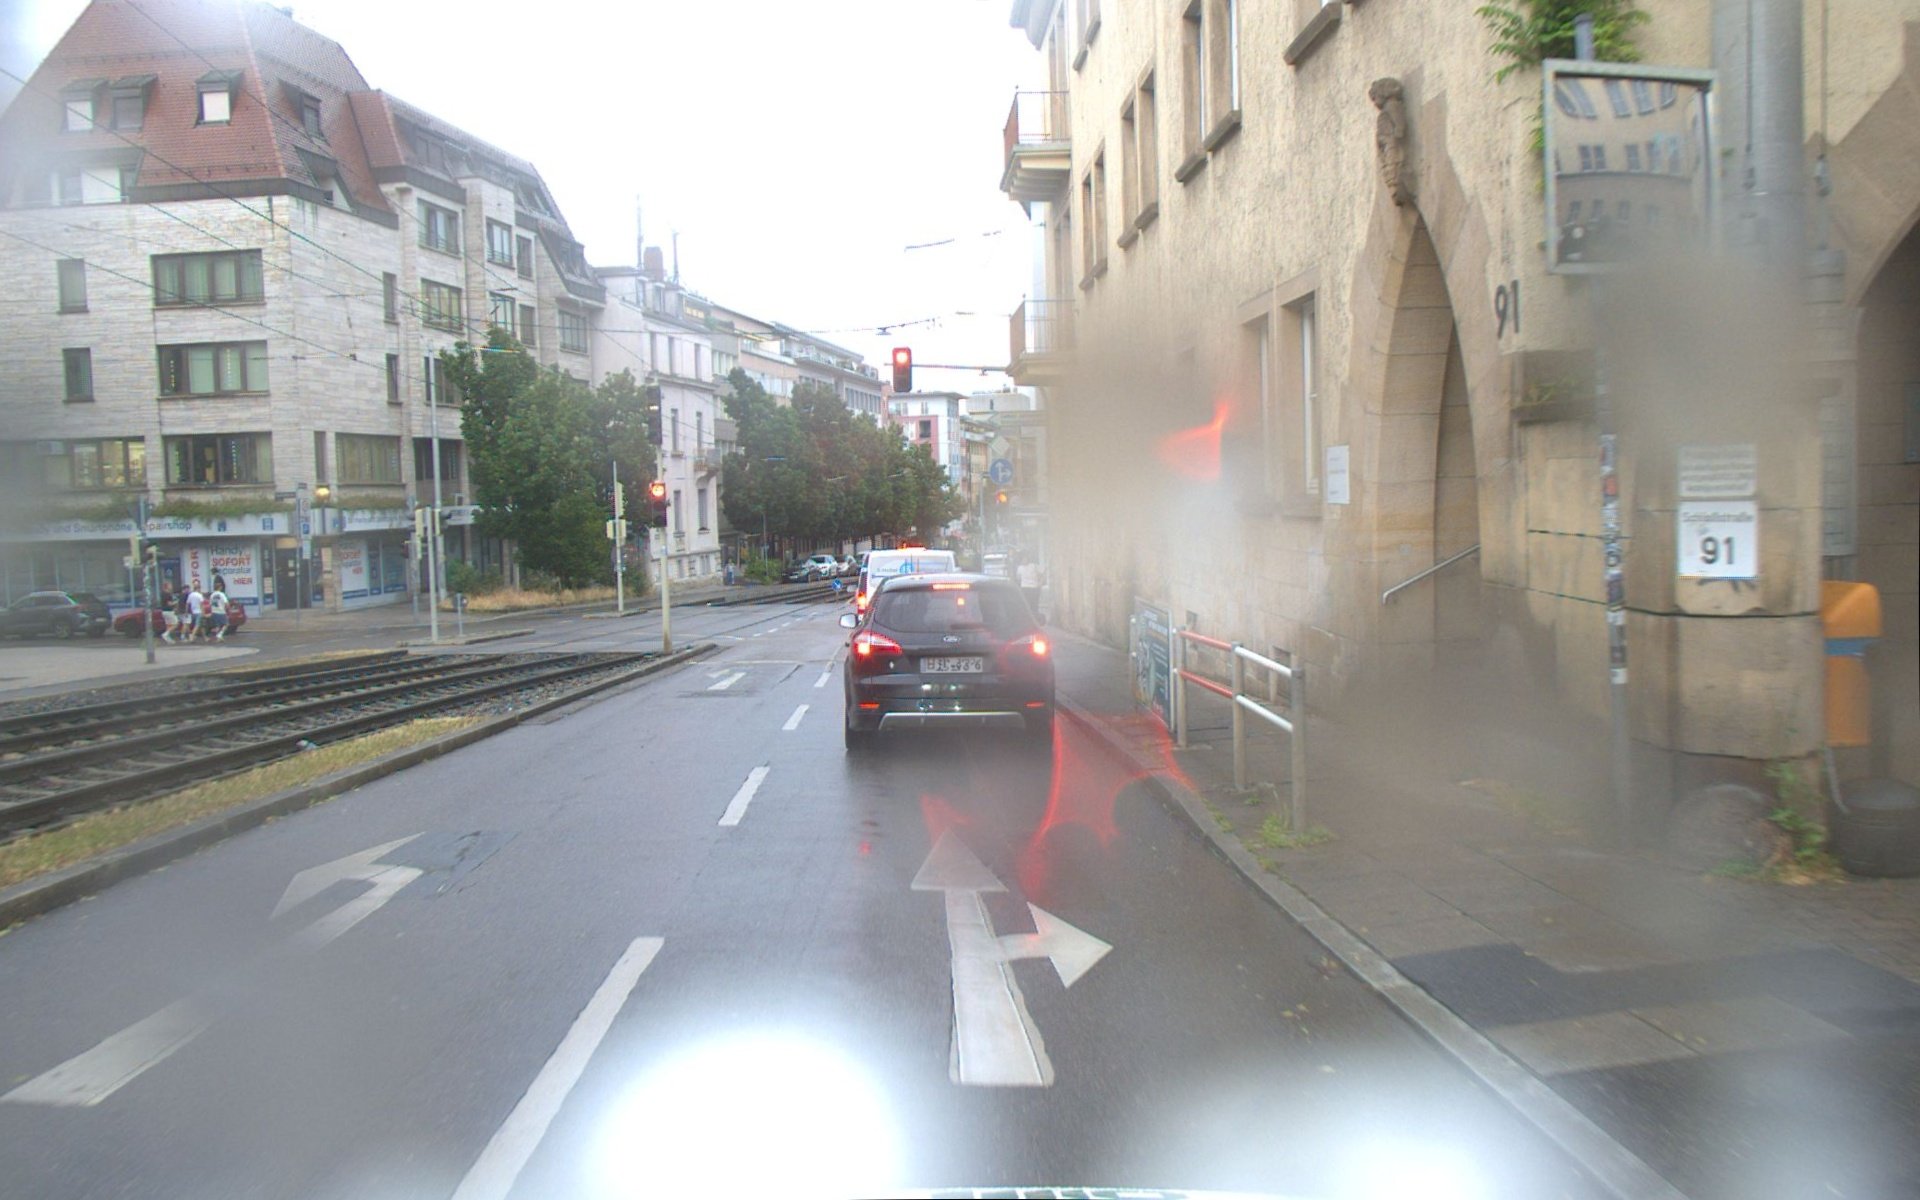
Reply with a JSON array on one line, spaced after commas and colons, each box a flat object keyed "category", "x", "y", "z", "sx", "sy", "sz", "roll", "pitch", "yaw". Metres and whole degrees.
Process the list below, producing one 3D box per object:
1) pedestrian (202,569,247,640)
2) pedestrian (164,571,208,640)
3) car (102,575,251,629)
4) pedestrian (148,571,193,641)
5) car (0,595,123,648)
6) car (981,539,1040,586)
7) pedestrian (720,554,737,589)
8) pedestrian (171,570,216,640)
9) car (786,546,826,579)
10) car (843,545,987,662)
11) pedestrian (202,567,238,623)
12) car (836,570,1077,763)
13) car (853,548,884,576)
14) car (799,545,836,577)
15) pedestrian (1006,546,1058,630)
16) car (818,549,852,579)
[{"category": "pedestrian", "x": -21.883, "y": 0.128, "z": 49.216, "sx": 0.923, "sy": 2.048, "sz": 0.764, "roll": -2, "pitch": 1, "yaw": -2}, {"category": "pedestrian", "x": -23.733, "y": 0.161, "z": 50.733, "sx": 0.923, "sy": 2.048, "sz": 0.764, "roll": -2, "pitch": 1, "yaw": -6}, {"category": "car", "x": -25.927, "y": 0.066, "z": 54.821, "sx": 4.045, "sy": 1.596, "sz": 1.825, "roll": -2, "pitch": 1, "yaw": 7}, {"category": "pedestrian", "x": -23.639, "y": 0.178, "z": 49.528, "sx": 0.923, "sy": 2.048, "sz": 0.764, "roll": -2, "pitch": 1, "yaw": -6}, {"category": "car", "x": -30.639, "y": 0.725, "z": 55.615, "sx": 4.045, "sy": 1.596, "sz": 1.825, "roll": -2, "pitch": 1, "yaw": 7}, {"category": "car", "x": 2.129, "y": -1.579, "z": 68.674, "sx": 1.951, "sy": 1.802, "sz": 4.004, "roll": -2, "pitch": 1, "yaw": 9}, {"category": "pedestrian", "x": -13.879, "y": -1.734, "z": 99.037, "sx": 0.925, "sy": 2.048, "sz": 0.763, "roll": -2, "pitch": 1, "yaw": -12}, {"category": "pedestrian", "x": -22.860, "y": 0.135, "z": 49.336, "sx": 0.923, "sy": 2.048, "sz": 0.764, "roll": -2, "pitch": 1, "yaw": -6}, {"category": "car", "x": -9.879, "y": -2.410, "z": 106.101, "sx": 1.952, "sy": 2.048, "sz": 4.002, "roll": -2, "pitch": 1, "yaw": 3}, {"category": "car", "x": -0.864, "y": -0.008, "z": 28.712, "sx": 2.096, "sy": 1.775, "sz": 4.213, "roll": -3, "pitch": 2, "yaw": -6}, {"category": "pedestrian", "x": -26.750, "y": -0.186, "z": 59.789, "sx": 0.887, "sy": 1.965, "sz": 0.824, "roll": -2, "pitch": 1, "yaw": -6}, {"category": "car", "x": -0.144, "y": 0.495, "z": 14.966, "sx": 1.882, "sy": 1.505, "sz": 3.997, "roll": 1, "pitch": 1, "yaw": -4}, {"category": "car", "x": -7.163, "y": -2.993, "z": 130.216, "sx": 1.952, "sy": 2.048, "sz": 4.002, "roll": -2, "pitch": 1, "yaw": 3}, {"category": "car", "x": -9.677, "y": -2.641, "z": 112.404, "sx": 1.952, "sy": 2.048, "sz": 4.002, "roll": -2, "pitch": 1, "yaw": 3}, {"category": "pedestrian", "x": 1.594, "y": -0.277, "z": 36.773, "sx": 1.024, "sy": 1.826, "sz": 0.901, "roll": -2, "pitch": 1, "yaw": -4}, {"category": "car", "x": -8.957, "y": -2.615, "z": 118.768, "sx": 1.952, "sy": 2.048, "sz": 4.002, "roll": -2, "pitch": 1, "yaw": 3}]
